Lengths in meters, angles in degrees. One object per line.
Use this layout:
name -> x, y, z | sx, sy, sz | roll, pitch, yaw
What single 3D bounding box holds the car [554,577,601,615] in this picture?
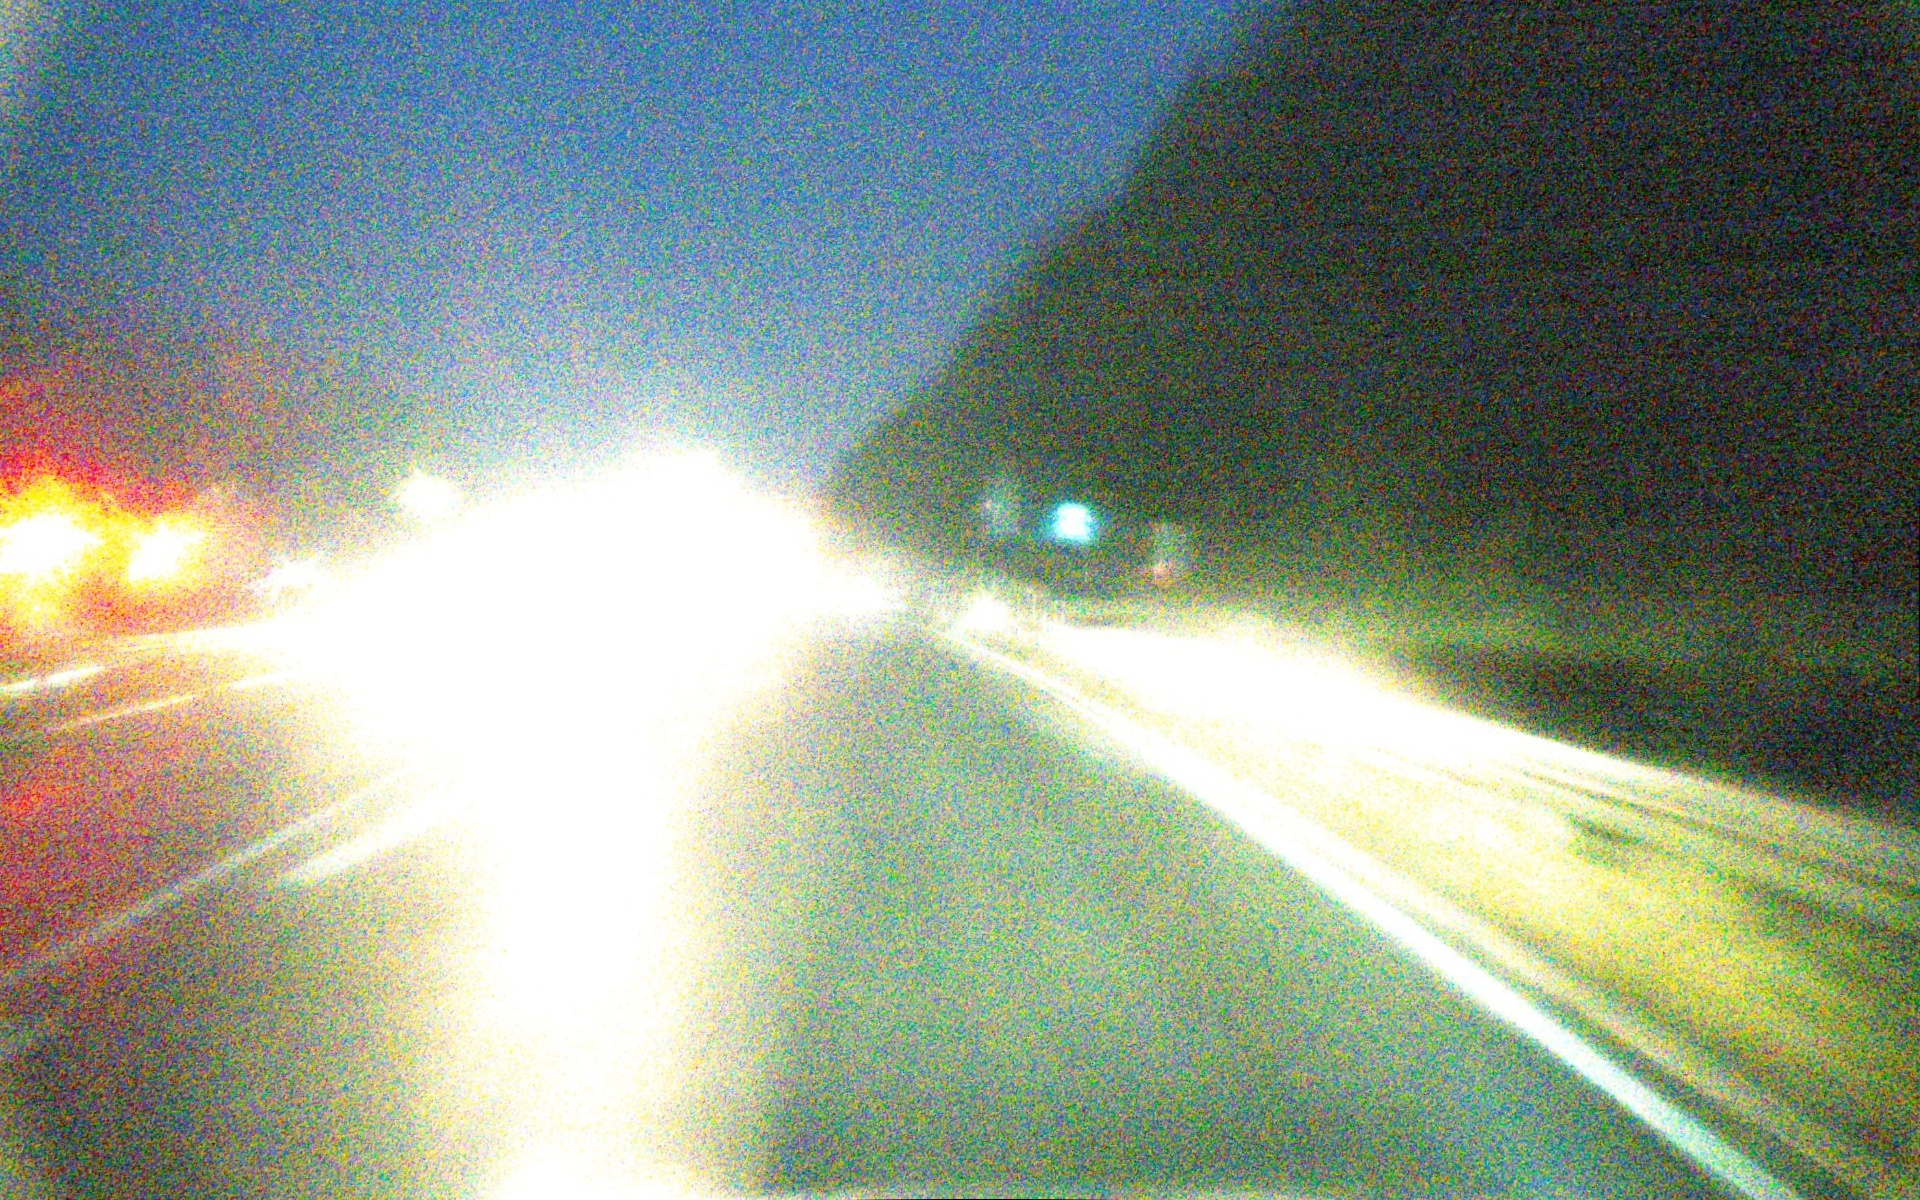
car -> -17.107, -0.183, 74.048 | 1.847, 1.628, 3.890 | 1, 0, -11
